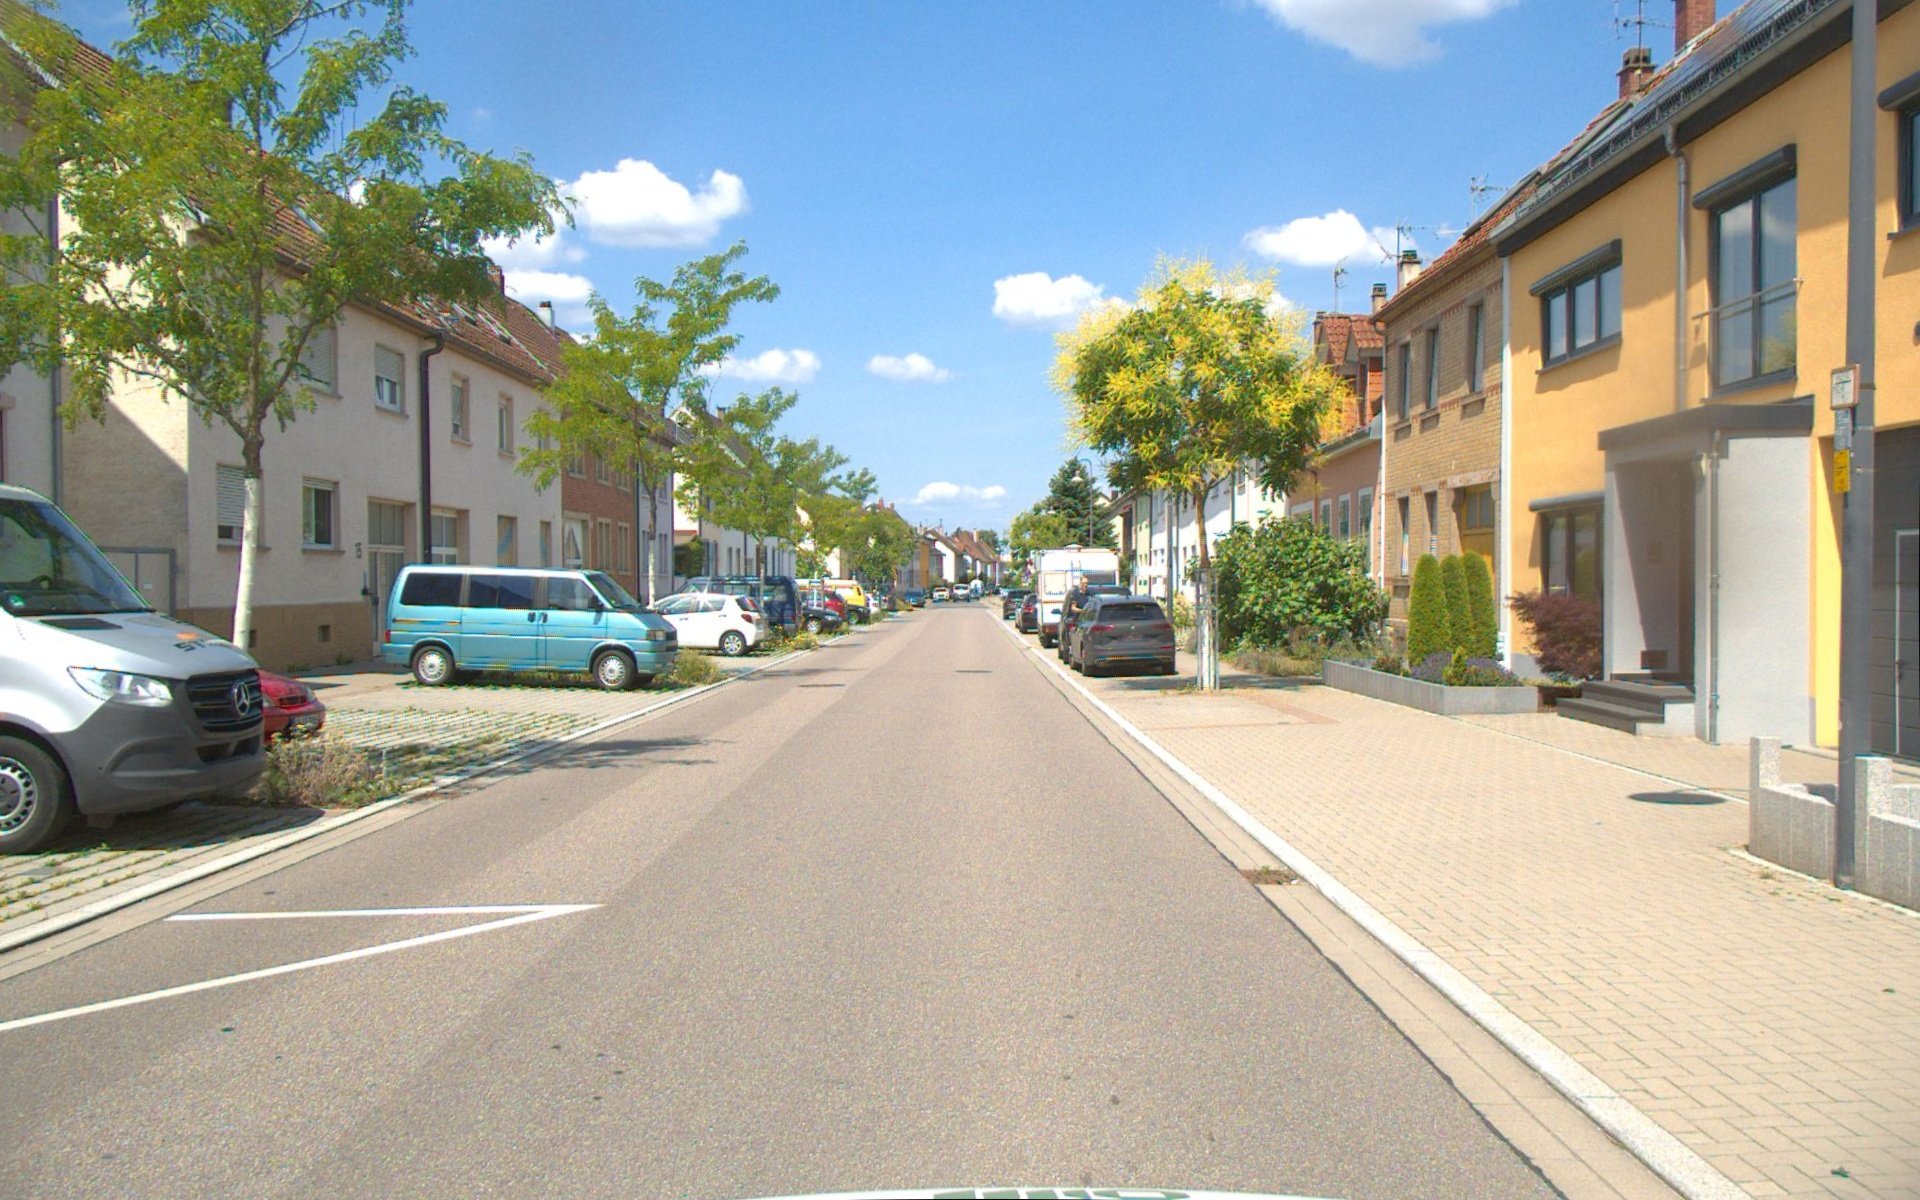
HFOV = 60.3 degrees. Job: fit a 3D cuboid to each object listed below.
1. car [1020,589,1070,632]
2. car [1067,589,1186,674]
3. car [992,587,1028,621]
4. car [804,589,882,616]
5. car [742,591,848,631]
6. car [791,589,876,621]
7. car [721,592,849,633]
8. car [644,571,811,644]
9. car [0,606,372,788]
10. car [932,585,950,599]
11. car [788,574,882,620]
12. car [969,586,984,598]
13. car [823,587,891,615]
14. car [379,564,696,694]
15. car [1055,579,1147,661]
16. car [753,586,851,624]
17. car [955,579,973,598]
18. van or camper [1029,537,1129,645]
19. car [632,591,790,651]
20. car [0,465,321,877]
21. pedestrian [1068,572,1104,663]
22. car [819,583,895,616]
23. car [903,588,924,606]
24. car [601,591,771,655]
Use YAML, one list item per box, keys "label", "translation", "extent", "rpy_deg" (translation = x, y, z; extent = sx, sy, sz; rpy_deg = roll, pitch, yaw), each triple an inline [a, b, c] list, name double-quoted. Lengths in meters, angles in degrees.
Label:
- label: "car"
  translation: [3.178, 0.379, 62.452]
  extent: [1.730, 1.556, 4.007]
  rpy_deg: [0, 0, 1]
- label: "car"
  translation: [3.115, 0.552, 31.699]
  extent: [1.731, 1.514, 4.295]
  rpy_deg: [0, 0, -1]
- label: "car"
  translation: [2.741, 0.213, 89.987]
  extent: [1.825, 1.664, 4.448]
  rpy_deg: [-3, 1, 3]
- label: "car"
  translation: [-6.624, 0.151, 93.907]
  extent: [4.206, 1.493, 1.774]
  rpy_deg: [0, 0, 2]
- label: "car"
  translation: [-6.353, 0.418, 64.099]
  extent: [3.972, 1.503, 1.775]
  rpy_deg: [0, 0, -3]
- label: "car"
  translation: [-6.007, 0.217, 78.866]
  extent: [3.927, 1.485, 1.755]
  rpy_deg: [0, 0, 0]
- label: "car"
  translation: [-6.350, 0.455, 60.340]
  extent: [4.431, 1.450, 1.796]
  rpy_deg: [0, 0, 0]
- label: "car"
  translation: [-6.686, 0.205, 47.901]
  extent: [4.517, 2.031, 1.953]
  rpy_deg: [0, 0, 2]
- label: "car"
  translation: [-7.232, 0.786, 14.207]
  extent: [3.705, 1.410, 1.725]
  rpy_deg: [1, 0, 0]
- label: "car"
  translation: [-2.288, -0.942, 197.512]
  extent: [1.811, 1.688, 4.002]
  rpy_deg: [2, 0, 3]
- label: "car"
  translation: [-6.121, -0.148, 81.307]
  extent: [4.416, 2.215, 1.925]
  rpy_deg: [0, 0, 0]
- label: "car"
  translation: [2.092, -1.027, 212.709]
  extent: [1.727, 1.549, 4.048]
  rpy_deg: [-2, 0, -1]
- label: "car"
  translation: [-6.249, 0.069, 100.787]
  extent: [4.100, 1.596, 1.773]
  rpy_deg: [1, 0, -3]
- label: "car"
  translation: [-6.756, 0.455, 26.821]
  extent: [4.580, 1.940, 2.000]
  rpy_deg: [1, 0, 1]
- label: "car"
  translation: [3.109, 0.407, 37.163]
  extent: [1.730, 1.734, 4.325]
  rpy_deg: [0, 0, 1]
- label: "car"
  translation: [-6.990, 0.222, 73.450]
  extent: [4.166, 1.639, 1.842]
  rpy_deg: [0, 0, -1]
- label: "car"
  translation: [0.412, -1.289, 185.054]
  extent: [1.981, 1.984, 4.897]
  rpy_deg: [-1, 0, -1]
- label: "van or camper"
  translation: [3.354, -0.275, 47.802]
  extent: [2.422, 2.859, 5.790]
  rpy_deg: [-2, 1, 0]
- label: "car"
  translation: [-6.505, 0.538, 43.471]
  extent: [3.834, 1.514, 1.773]
  rpy_deg: [0, 0, 2]
- label: "car"
  translation: [-6.990, 0.369, 10.408]
  extent: [5.062, 2.328, 2.156]
  rpy_deg: [1, 0, -2]
- label: "pedestrian"
  translation: [2.634, 0.360, 34.541]
  extent: [0.701, 1.885, 0.578]
  rpy_deg: [0, 0, 0]
- label: "car"
  translation: [-6.444, -0.032, 103.544]
  extent: [4.603, 1.957, 1.938]
  rpy_deg: [1, 0, 0]
- label: "car"
  translation: [-4.163, -0.278, 148.600]
  extent: [1.780, 1.458, 4.138]
  rpy_deg: [3, 2, -2]
- label: "car"
  translation: [-6.721, 0.554, 40.764]
  extent: [3.834, 1.514, 1.773]
  rpy_deg: [0, 0, 2]
